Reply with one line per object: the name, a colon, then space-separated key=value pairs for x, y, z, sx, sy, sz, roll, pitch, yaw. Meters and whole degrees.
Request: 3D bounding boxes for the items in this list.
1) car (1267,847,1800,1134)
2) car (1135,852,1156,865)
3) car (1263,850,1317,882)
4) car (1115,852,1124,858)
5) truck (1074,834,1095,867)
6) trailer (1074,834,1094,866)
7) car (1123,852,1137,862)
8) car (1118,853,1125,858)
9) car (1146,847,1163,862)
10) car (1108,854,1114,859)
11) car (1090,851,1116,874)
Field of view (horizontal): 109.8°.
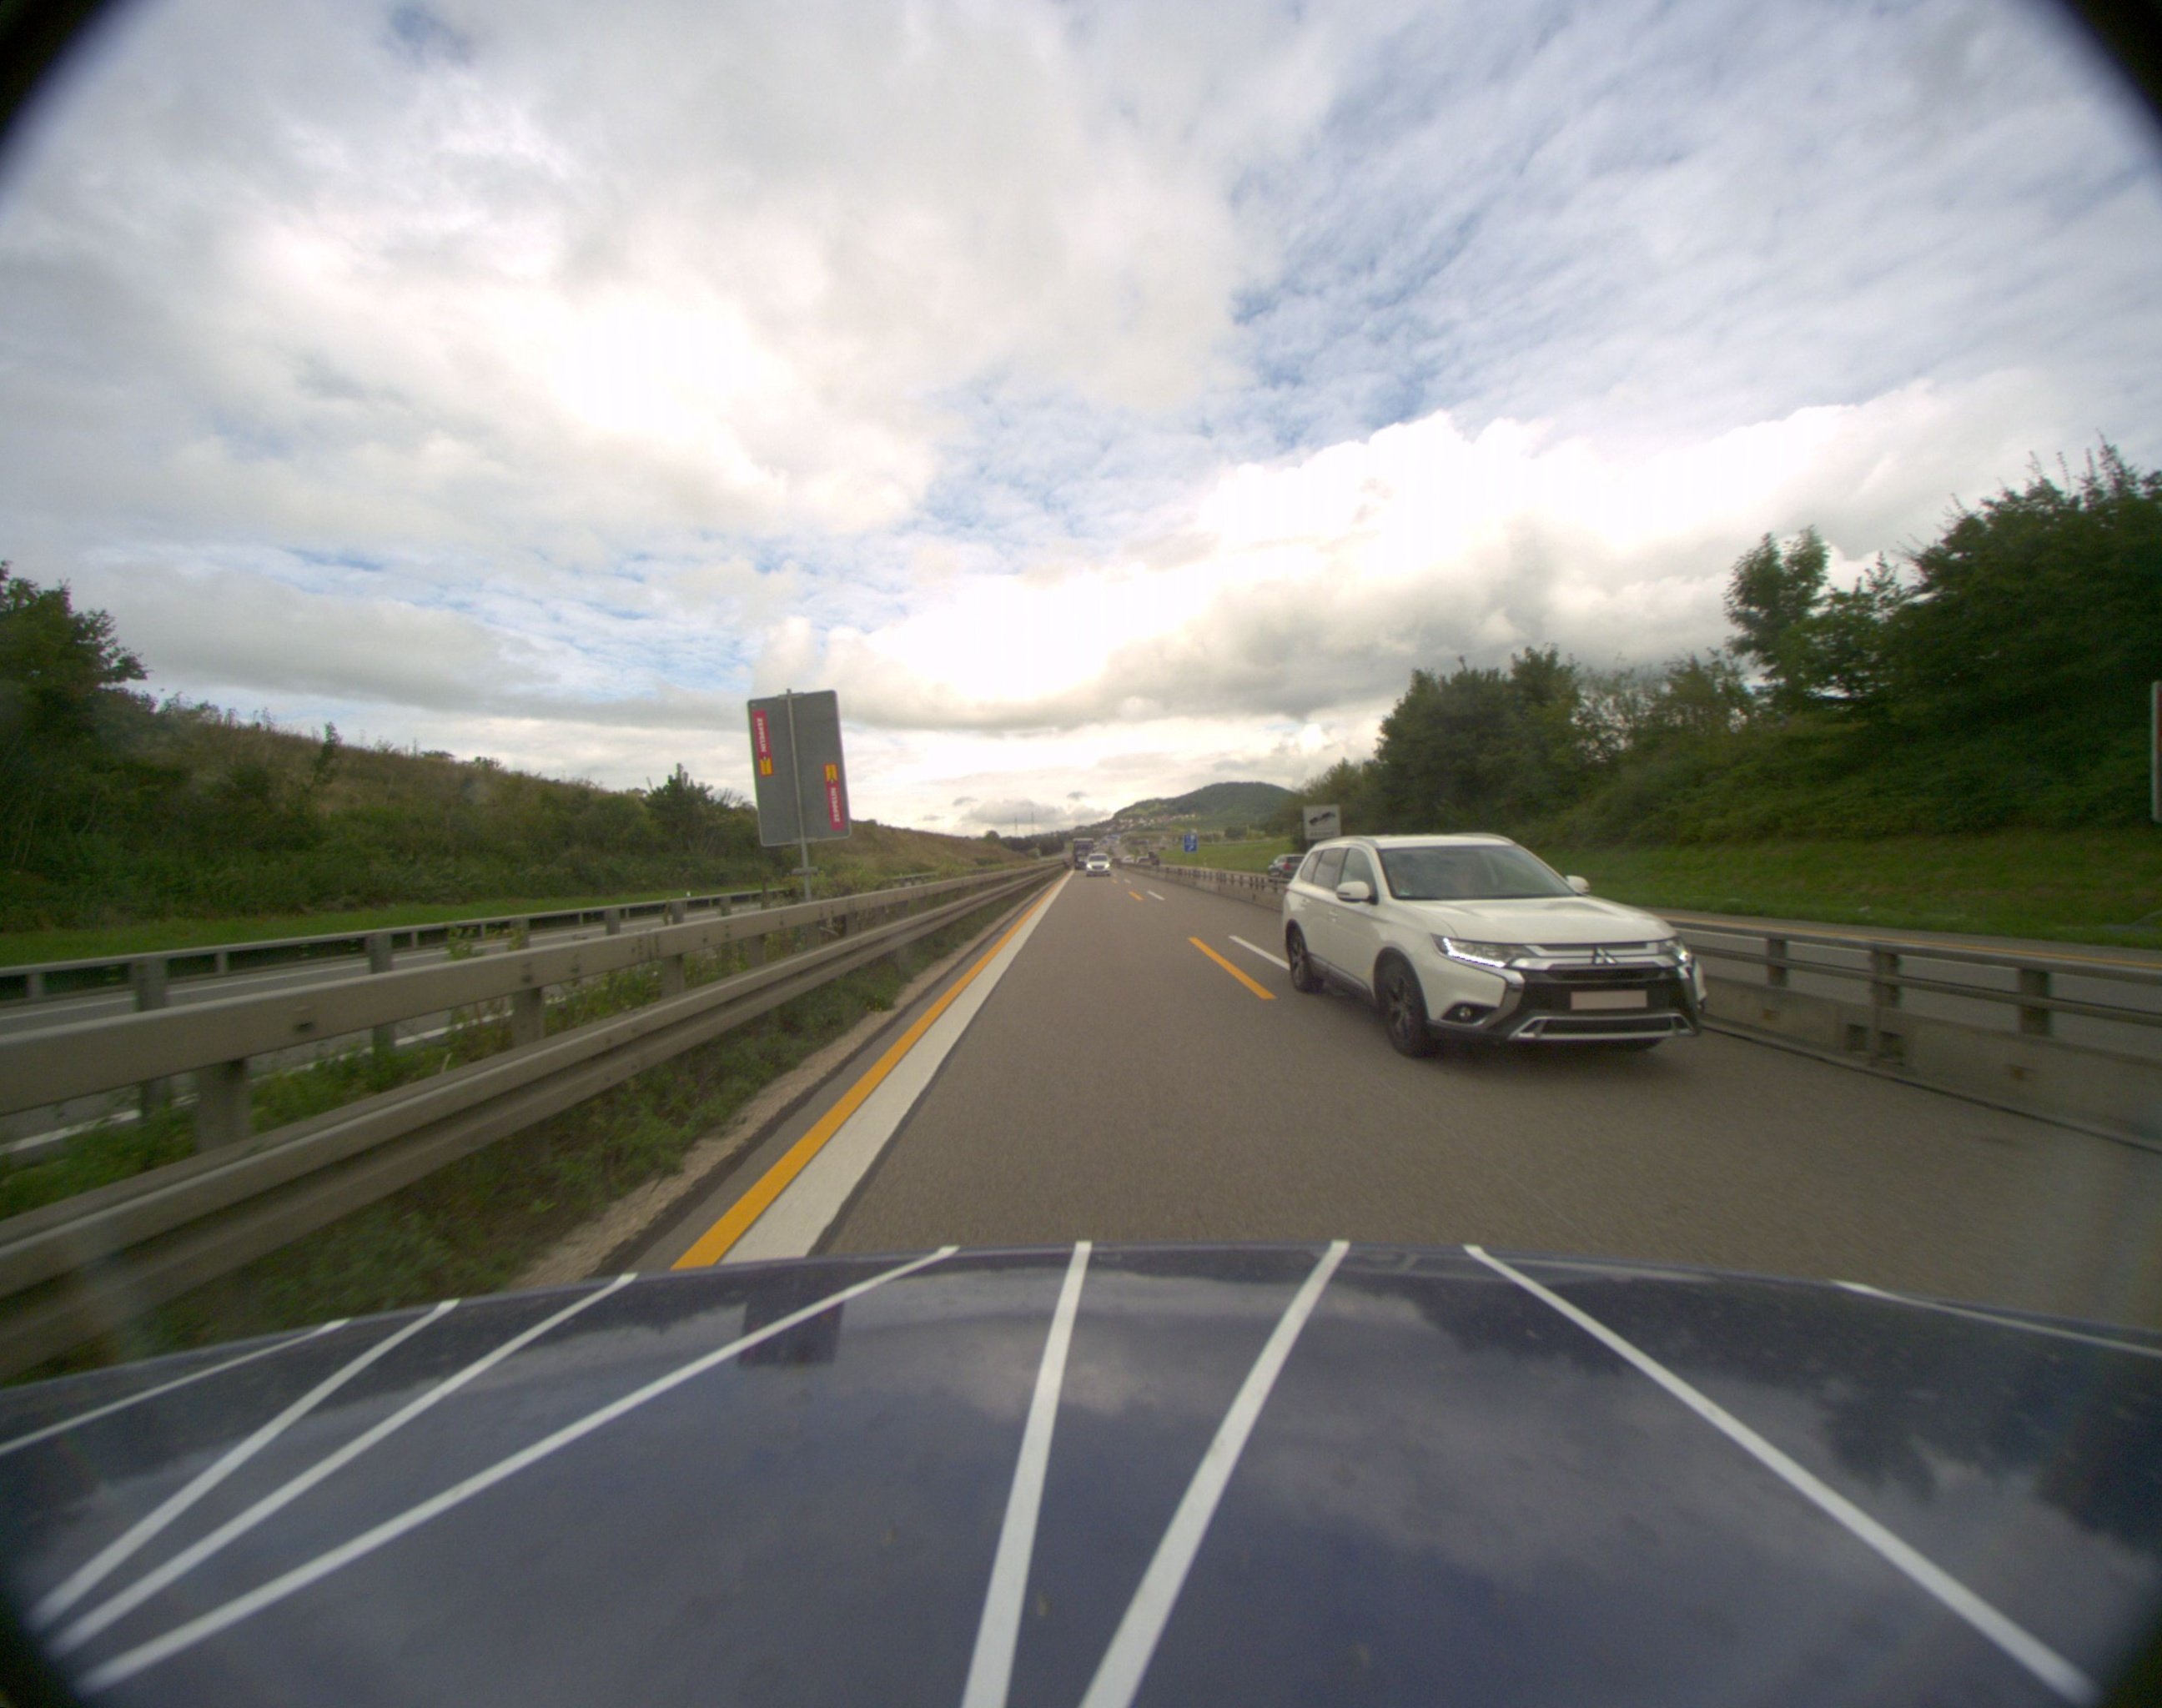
car: x=3.155 y=0.784 z=6.660 sx=1.998 sy=1.618 sz=4.607 roll=-1 pitch=0 yaw=1
car: x=7.748 y=0.504 z=91.719 sx=1.998 sy=1.512 sz=4.953 roll=-1 pitch=0 yaw=0
car: x=10.314 y=0.558 z=37.735 sx=1.673 sy=1.431 sz=3.787 roll=-2 pitch=0 yaw=1
car: x=8.708 y=0.236 z=172.552 sx=1.941 sy=1.460 sz=4.589 roll=-1 pitch=0 yaw=1
truck: x=0.443 y=-0.487 z=99.195 sx=2.521 sy=4.081 sz=5.685 roll=-2 pitch=1 yaw=1
trailer: x=0.518 y=-0.513 z=104.343 sx=2.521 sy=4.081 sz=11.112 roll=-2 pitch=0 yaw=1
car: x=8.045 y=0.498 z=124.779 sx=1.998 sy=1.512 sz=4.669 roll=-2 pitch=0 yaw=0
car: x=12.020 y=0.470 z=225.741 sx=1.761 sy=1.380 sz=4.000 roll=-2 pitch=0 yaw=2
car: x=11.008 y=0.076 z=114.178 sx=1.999 sy=2.239 sz=5.049 roll=-2 pitch=0 yaw=-1
car: x=8.998 y=0.724 z=229.230 sx=1.761 sy=1.380 sz=4.327 roll=-3 pitch=0 yaw=2
car: x=1.747 y=0.666 z=62.540 sx=1.991 sy=1.787 sz=4.585 roll=-2 pitch=0 yaw=1
